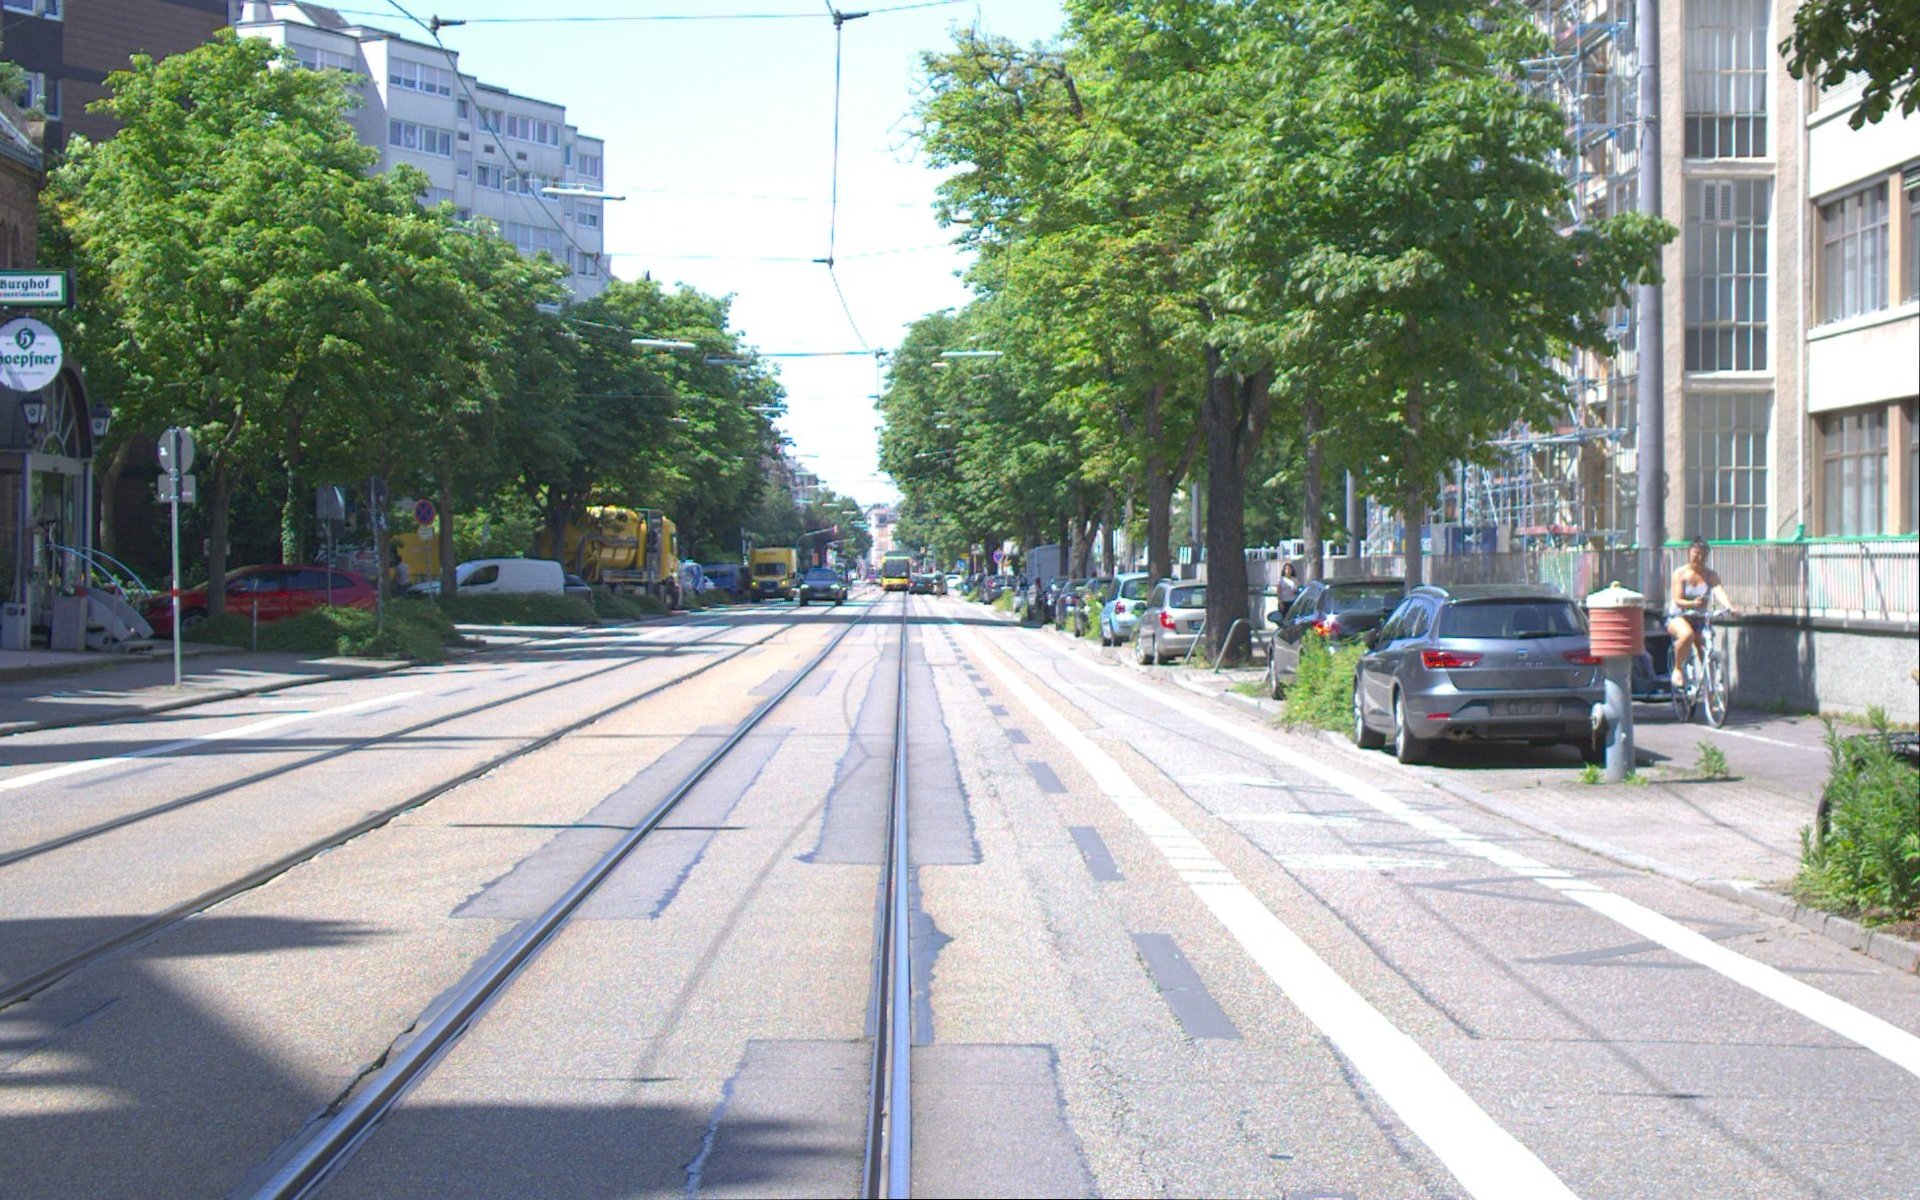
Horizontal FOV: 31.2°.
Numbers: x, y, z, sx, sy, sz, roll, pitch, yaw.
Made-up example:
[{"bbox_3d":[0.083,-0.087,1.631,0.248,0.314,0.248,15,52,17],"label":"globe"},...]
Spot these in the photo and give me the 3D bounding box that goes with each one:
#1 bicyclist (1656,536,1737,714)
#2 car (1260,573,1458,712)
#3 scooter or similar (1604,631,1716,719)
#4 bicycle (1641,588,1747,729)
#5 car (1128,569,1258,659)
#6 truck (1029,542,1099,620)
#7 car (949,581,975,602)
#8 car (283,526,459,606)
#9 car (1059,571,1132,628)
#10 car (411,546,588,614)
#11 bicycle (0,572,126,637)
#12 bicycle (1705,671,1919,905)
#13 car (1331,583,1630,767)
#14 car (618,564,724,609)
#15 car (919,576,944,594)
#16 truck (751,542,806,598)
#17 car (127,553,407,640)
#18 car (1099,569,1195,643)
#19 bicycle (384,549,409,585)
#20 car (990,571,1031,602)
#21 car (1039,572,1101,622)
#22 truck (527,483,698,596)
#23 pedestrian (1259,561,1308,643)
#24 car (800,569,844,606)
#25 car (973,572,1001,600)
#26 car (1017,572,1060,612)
[{"bbox_3d":[6.933,0.229,32.382,0.580,1.642,0.599,-2,1,-1],"label":"bicyclist"},{"bbox_3d":[4.469,0.438,38.985,1.671,1.484,3.981,0,1,-2],"label":"car"},{"bbox_3d":[6.952,0.737,34.204,0.761,0.804,1.556,-2,1,-1],"label":"scooter or similar"},{"bbox_3d":[6.931,0.535,32.535,0.555,1.261,1.774,-2,1,-1],"label":"bicycle"},{"bbox_3d":[3.990,0.212,59.421,1.671,1.494,4.366,0,1,-4],"label":"car"},{"bbox_3d":[3.401,-0.643,113.528,2.014,2.480,5.956,0,1,-1],"label":"truck"},{"bbox_3d":[0.120,-0.614,245.645,1.710,1.418,4.310,-1,0,-1],"label":"car"},{"bbox_3d":[-20.225,-1.141,118.469,2.182,2.557,6.713,1,-1,29],"label":"car"},{"bbox_3d":[3.596,-0.023,91.966,1.824,1.466,4.486,0,1,1],"label":"car"},{"bbox_3d":[-12.998,-0.561,97.121,4.533,1.785,1.901,1,1,-33],"label":"car"},{"bbox_3d":[-14.683,0.069,56.067,1.994,0.888,0.598,5,0,-17],"label":"bicycle"},{"bbox_3d":[4.347,0.872,16.092,1.585,1.056,0.562,0,0,-2],"label":"bicycle"},{"bbox_3d":[4.289,0.569,28.993,1.671,1.403,4.749,0,1,-2],"label":"car"},{"bbox_3d":[-13.114,-0.630,156.264,1.920,1.928,4.745,-2,0,42],"label":"car"},{"bbox_3d":[-2.091,-1.087,253.427,1.781,1.341,3.416,0,0,0],"label":"car"},{"bbox_3d":[-9.643,-1.594,183.010,2.360,2.843,7.378,-1,0,1],"label":"truck"},{"bbox_3d":[-13.005,-0.062,64.551,4.764,1.561,2.002,0,0,-29],"label":"car"},{"bbox_3d":[3.916,0.103,72.411,1.671,1.512,4.202,0,1,-2],"label":"car"},{"bbox_3d":[-16.692,-0.987,101.845,0.518,1.043,1.876,1,0,-3],"label":"bicycle"},{"bbox_3d":[2.446,-0.652,167.089,1.639,1.480,3.873,-1,0,-4],"label":"car"},{"bbox_3d":[3.285,-0.111,102.877,1.824,1.466,4.400,0,1,2],"label":"car"},{"bbox_3d":[-12.681,-2.146,126.726,2.717,3.829,10.956,2,0,13],"label":"truck"},{"bbox_3d":[6.350,0.035,67.506,0.799,1.583,0.919,-1,1,-2],"label":"pedestrian"},{"bbox_3d":[-6.226,-0.576,155.302,1.831,1.675,4.185,0,1,-1],"label":"car"},{"bbox_3d":[1.610,-0.838,208.149,1.592,1.611,3.908,-1,0,-1],"label":"car"},{"bbox_3d":[3.029,-0.324,133.295,1.644,1.529,3.785,0,1,1],"label":"car"}]
